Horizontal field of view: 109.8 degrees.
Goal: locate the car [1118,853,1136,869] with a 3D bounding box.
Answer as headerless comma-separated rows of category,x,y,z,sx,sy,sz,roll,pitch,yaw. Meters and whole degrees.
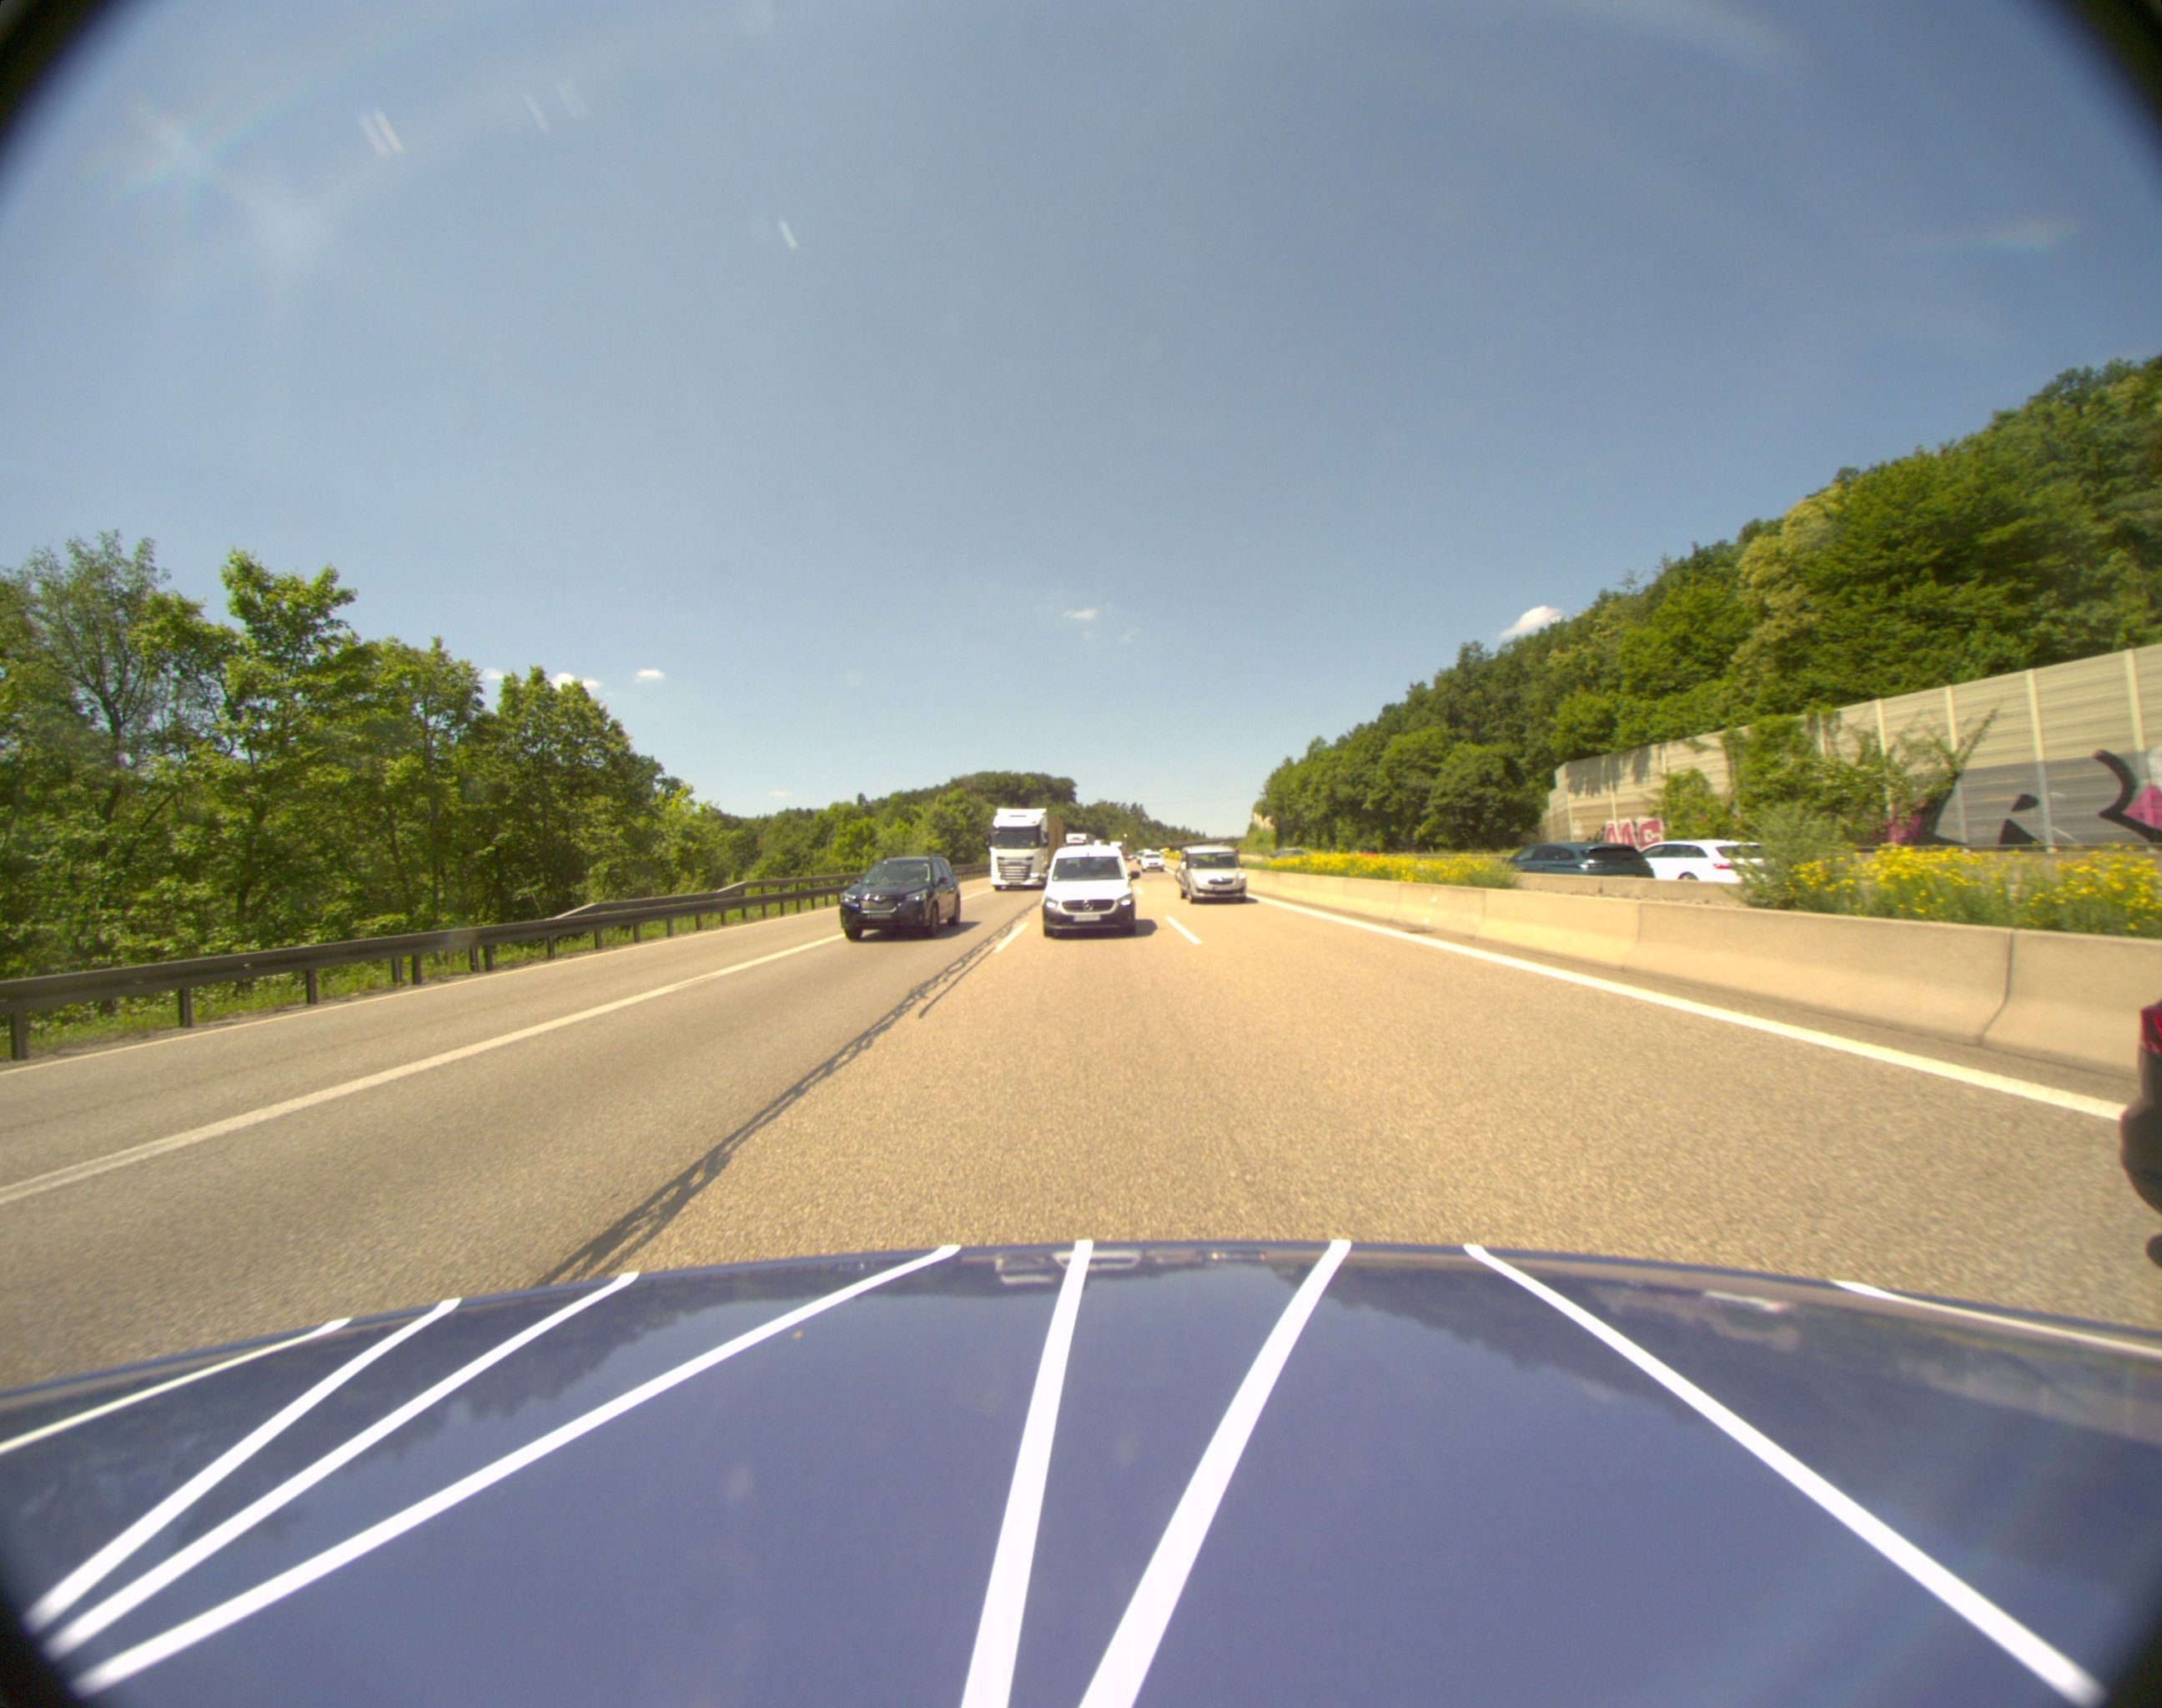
car,6.030,0.904,99.994,1.998,2.002,4.000,-2,0,0

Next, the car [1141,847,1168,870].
car,6.312,0.382,65.350,1.998,1.827,4.000,-2,1,2

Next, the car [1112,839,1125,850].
car,8.629,-2.187,176.103,2.721,2.534,5.940,-2,1,2

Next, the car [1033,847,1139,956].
car,0.190,0.783,14.976,1.729,1.760,4.313,-2,1,3

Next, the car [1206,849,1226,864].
car,15.788,0.263,88.985,1.646,1.641,3.712,-2,1,2

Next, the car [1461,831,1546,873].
car,20.951,-0.114,37.937,1.742,1.911,4.504,-2,1,1

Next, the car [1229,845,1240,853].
car,34.678,-1.162,171.891,1.731,1.625,4.000,-2,0,3

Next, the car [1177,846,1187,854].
car,27.317,-1.038,205.364,1.998,2.002,4.000,-2,0,1

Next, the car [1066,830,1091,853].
car,-0.252,-1.438,89.832,2.721,2.534,5.940,-2,1,2

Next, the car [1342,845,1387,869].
car,20.560,0.174,55.310,1.743,1.630,4.187,-2,1,2

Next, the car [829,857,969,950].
car,-3.803,0.967,16.697,1.816,1.658,4.203,-2,1,3

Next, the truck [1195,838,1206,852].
truck,31.590,-2.312,200.523,1.998,3.485,6.027,-2,0,3

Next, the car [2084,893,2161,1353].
car,4.141,0.829,0.140,1.736,1.419,4.730,-2,0,2

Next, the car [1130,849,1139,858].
car,12.211,-0.040,173.309,1.998,2.002,4.000,-2,0,2

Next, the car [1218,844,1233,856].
car,21.016,-0.587,110.562,1.646,1.641,3.712,-2,1,2

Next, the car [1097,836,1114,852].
car,4.117,-1.727,126.373,2.721,2.534,5.940,-2,1,2

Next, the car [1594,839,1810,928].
car,15.298,0.626,19.105,1.742,1.911,4.504,-2,1,1

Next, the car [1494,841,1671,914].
car,11.354,0.478,17.540,1.620,1.459,3.753,-2,0,1

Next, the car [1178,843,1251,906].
car,4.260,0.593,24.808,1.780,1.833,4.000,-2,0,3

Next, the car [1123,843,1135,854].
car,8.590,-0.979,137.337,1.902,2.002,4.000,-2,0,1

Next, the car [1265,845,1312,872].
car,12.767,0.252,47.036,1.751,1.568,4.714,-2,0,2

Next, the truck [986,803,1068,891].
truck,-2.680,-0.461,43.912,2.789,4.145,16.267,-1,1,3
